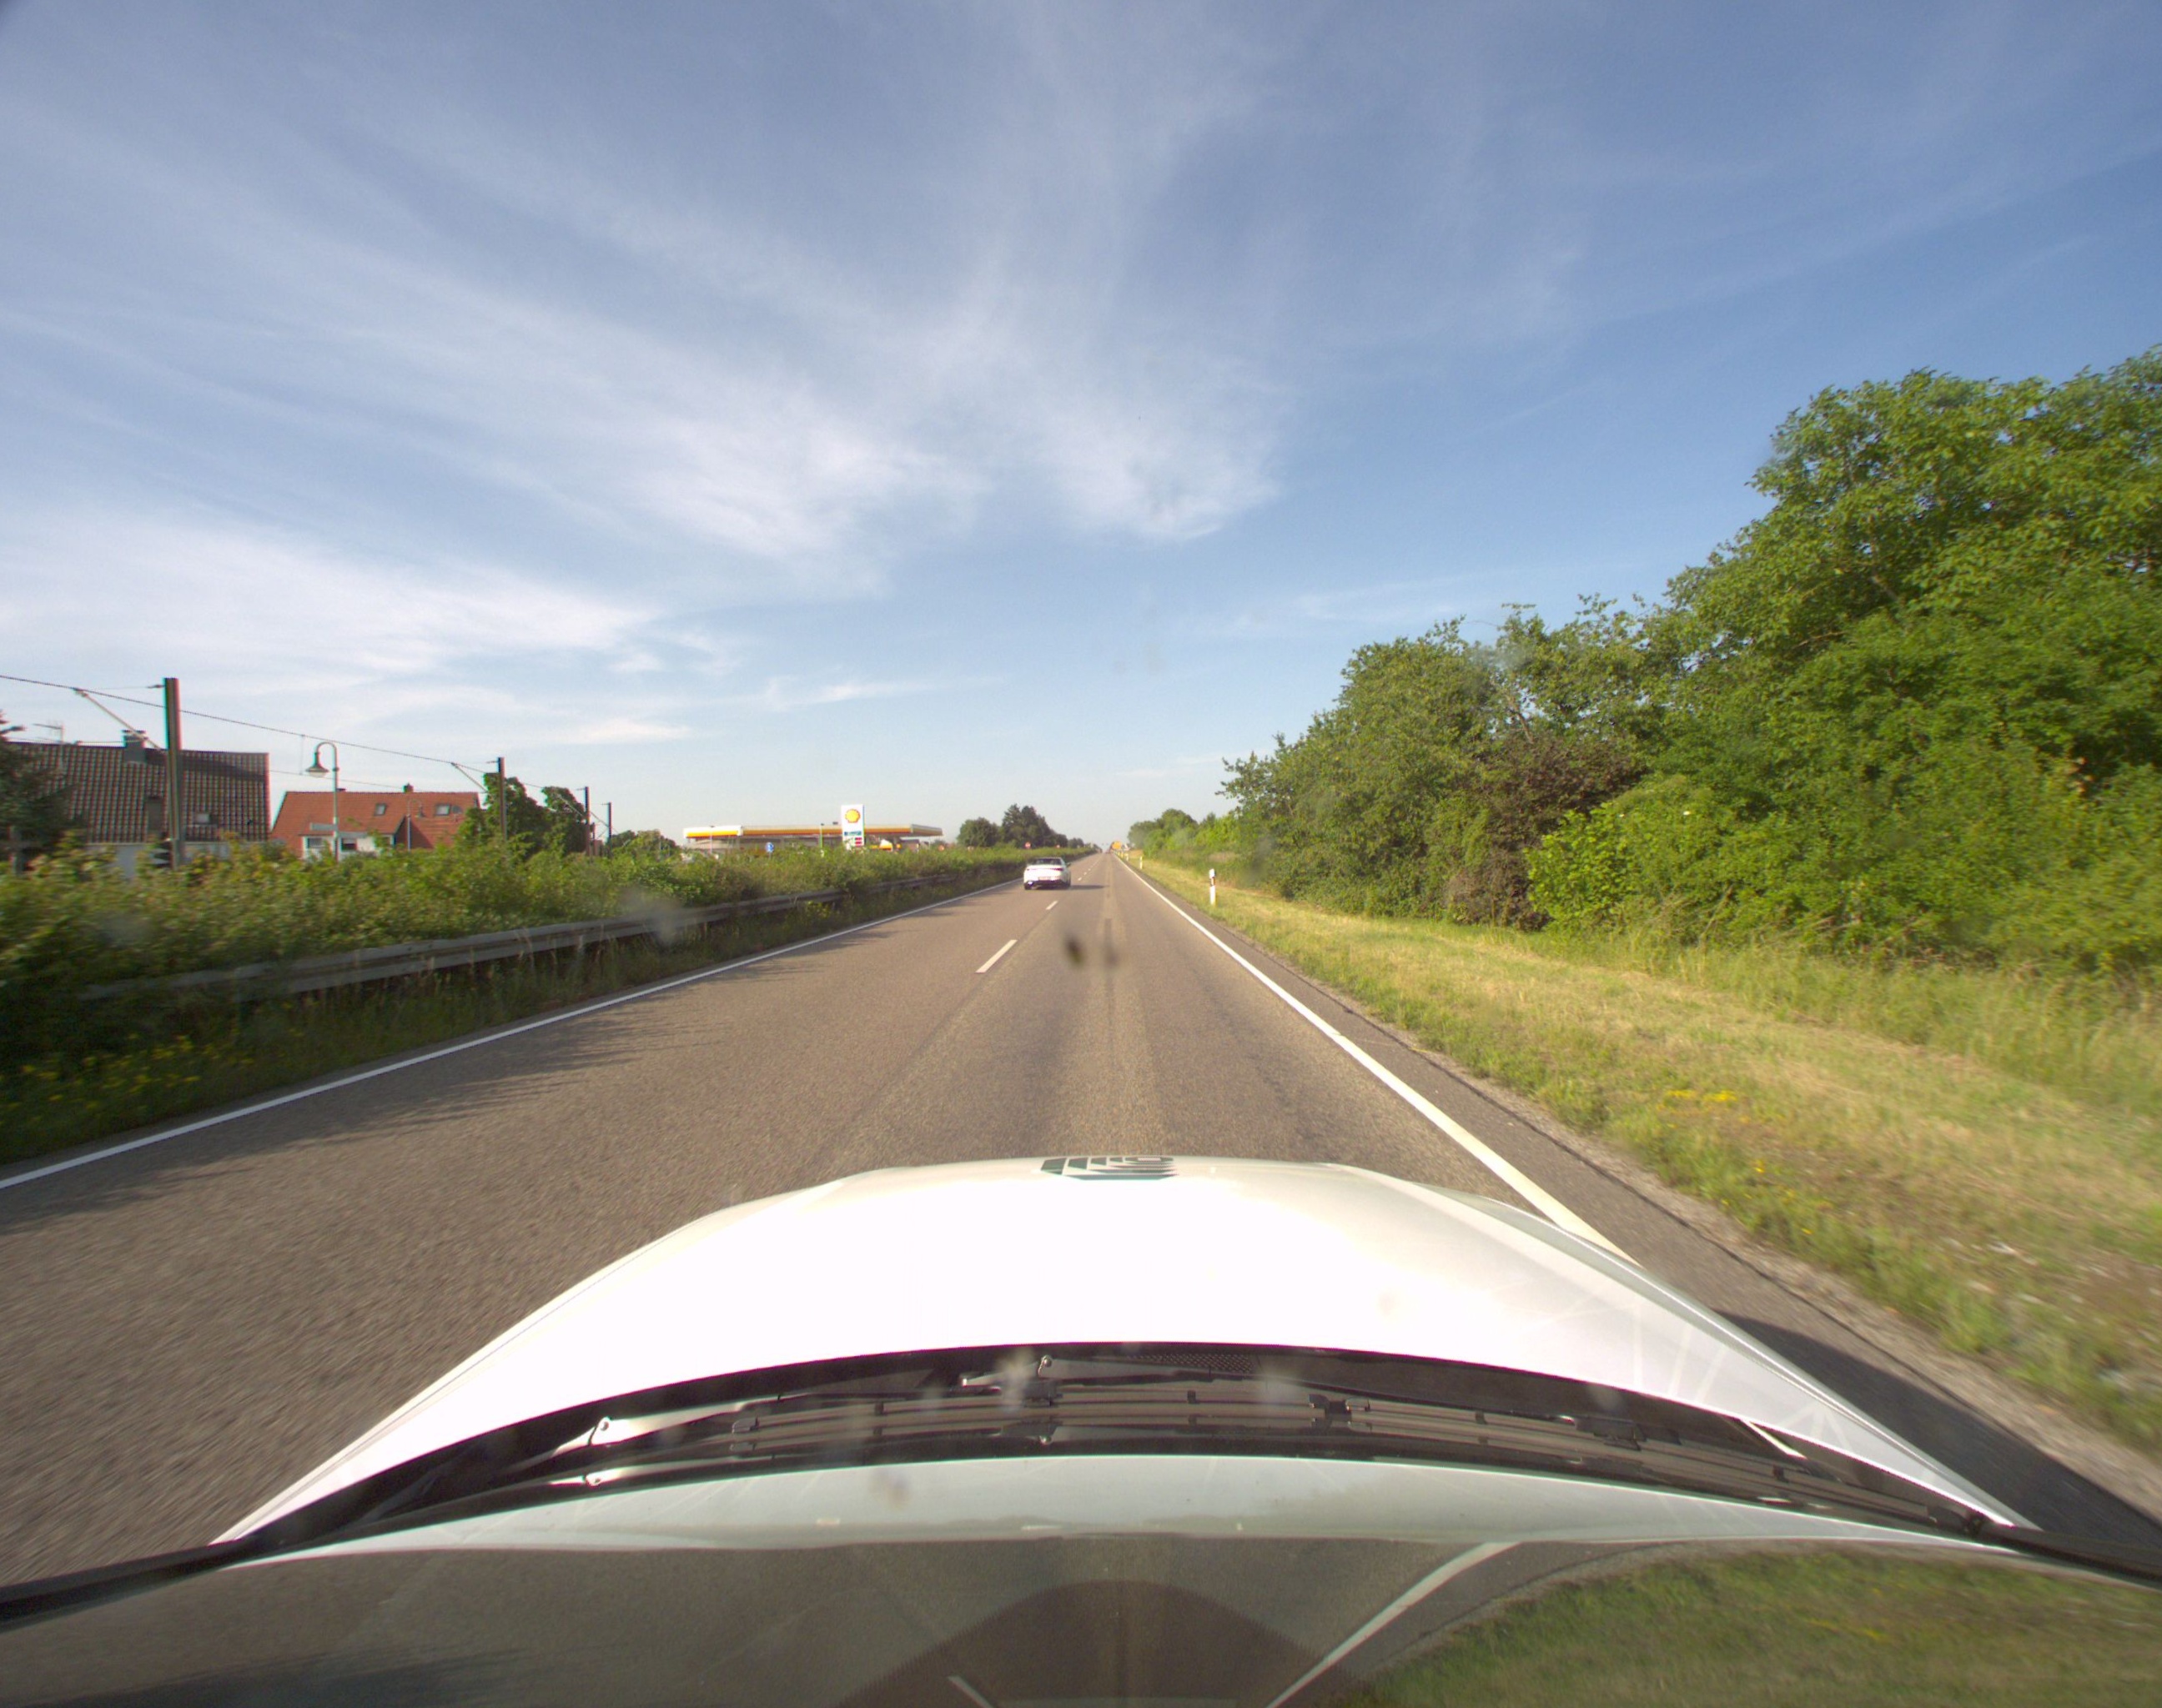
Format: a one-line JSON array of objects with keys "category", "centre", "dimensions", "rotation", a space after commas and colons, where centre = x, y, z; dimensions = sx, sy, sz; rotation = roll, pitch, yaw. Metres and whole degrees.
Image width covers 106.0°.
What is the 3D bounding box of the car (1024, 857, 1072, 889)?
[{"category": "car", "centre": [-1.398, 0.793, 36.313], "dimensions": [1.764, 1.337, 4.952], "rotation": [0, 0, 2]}]
